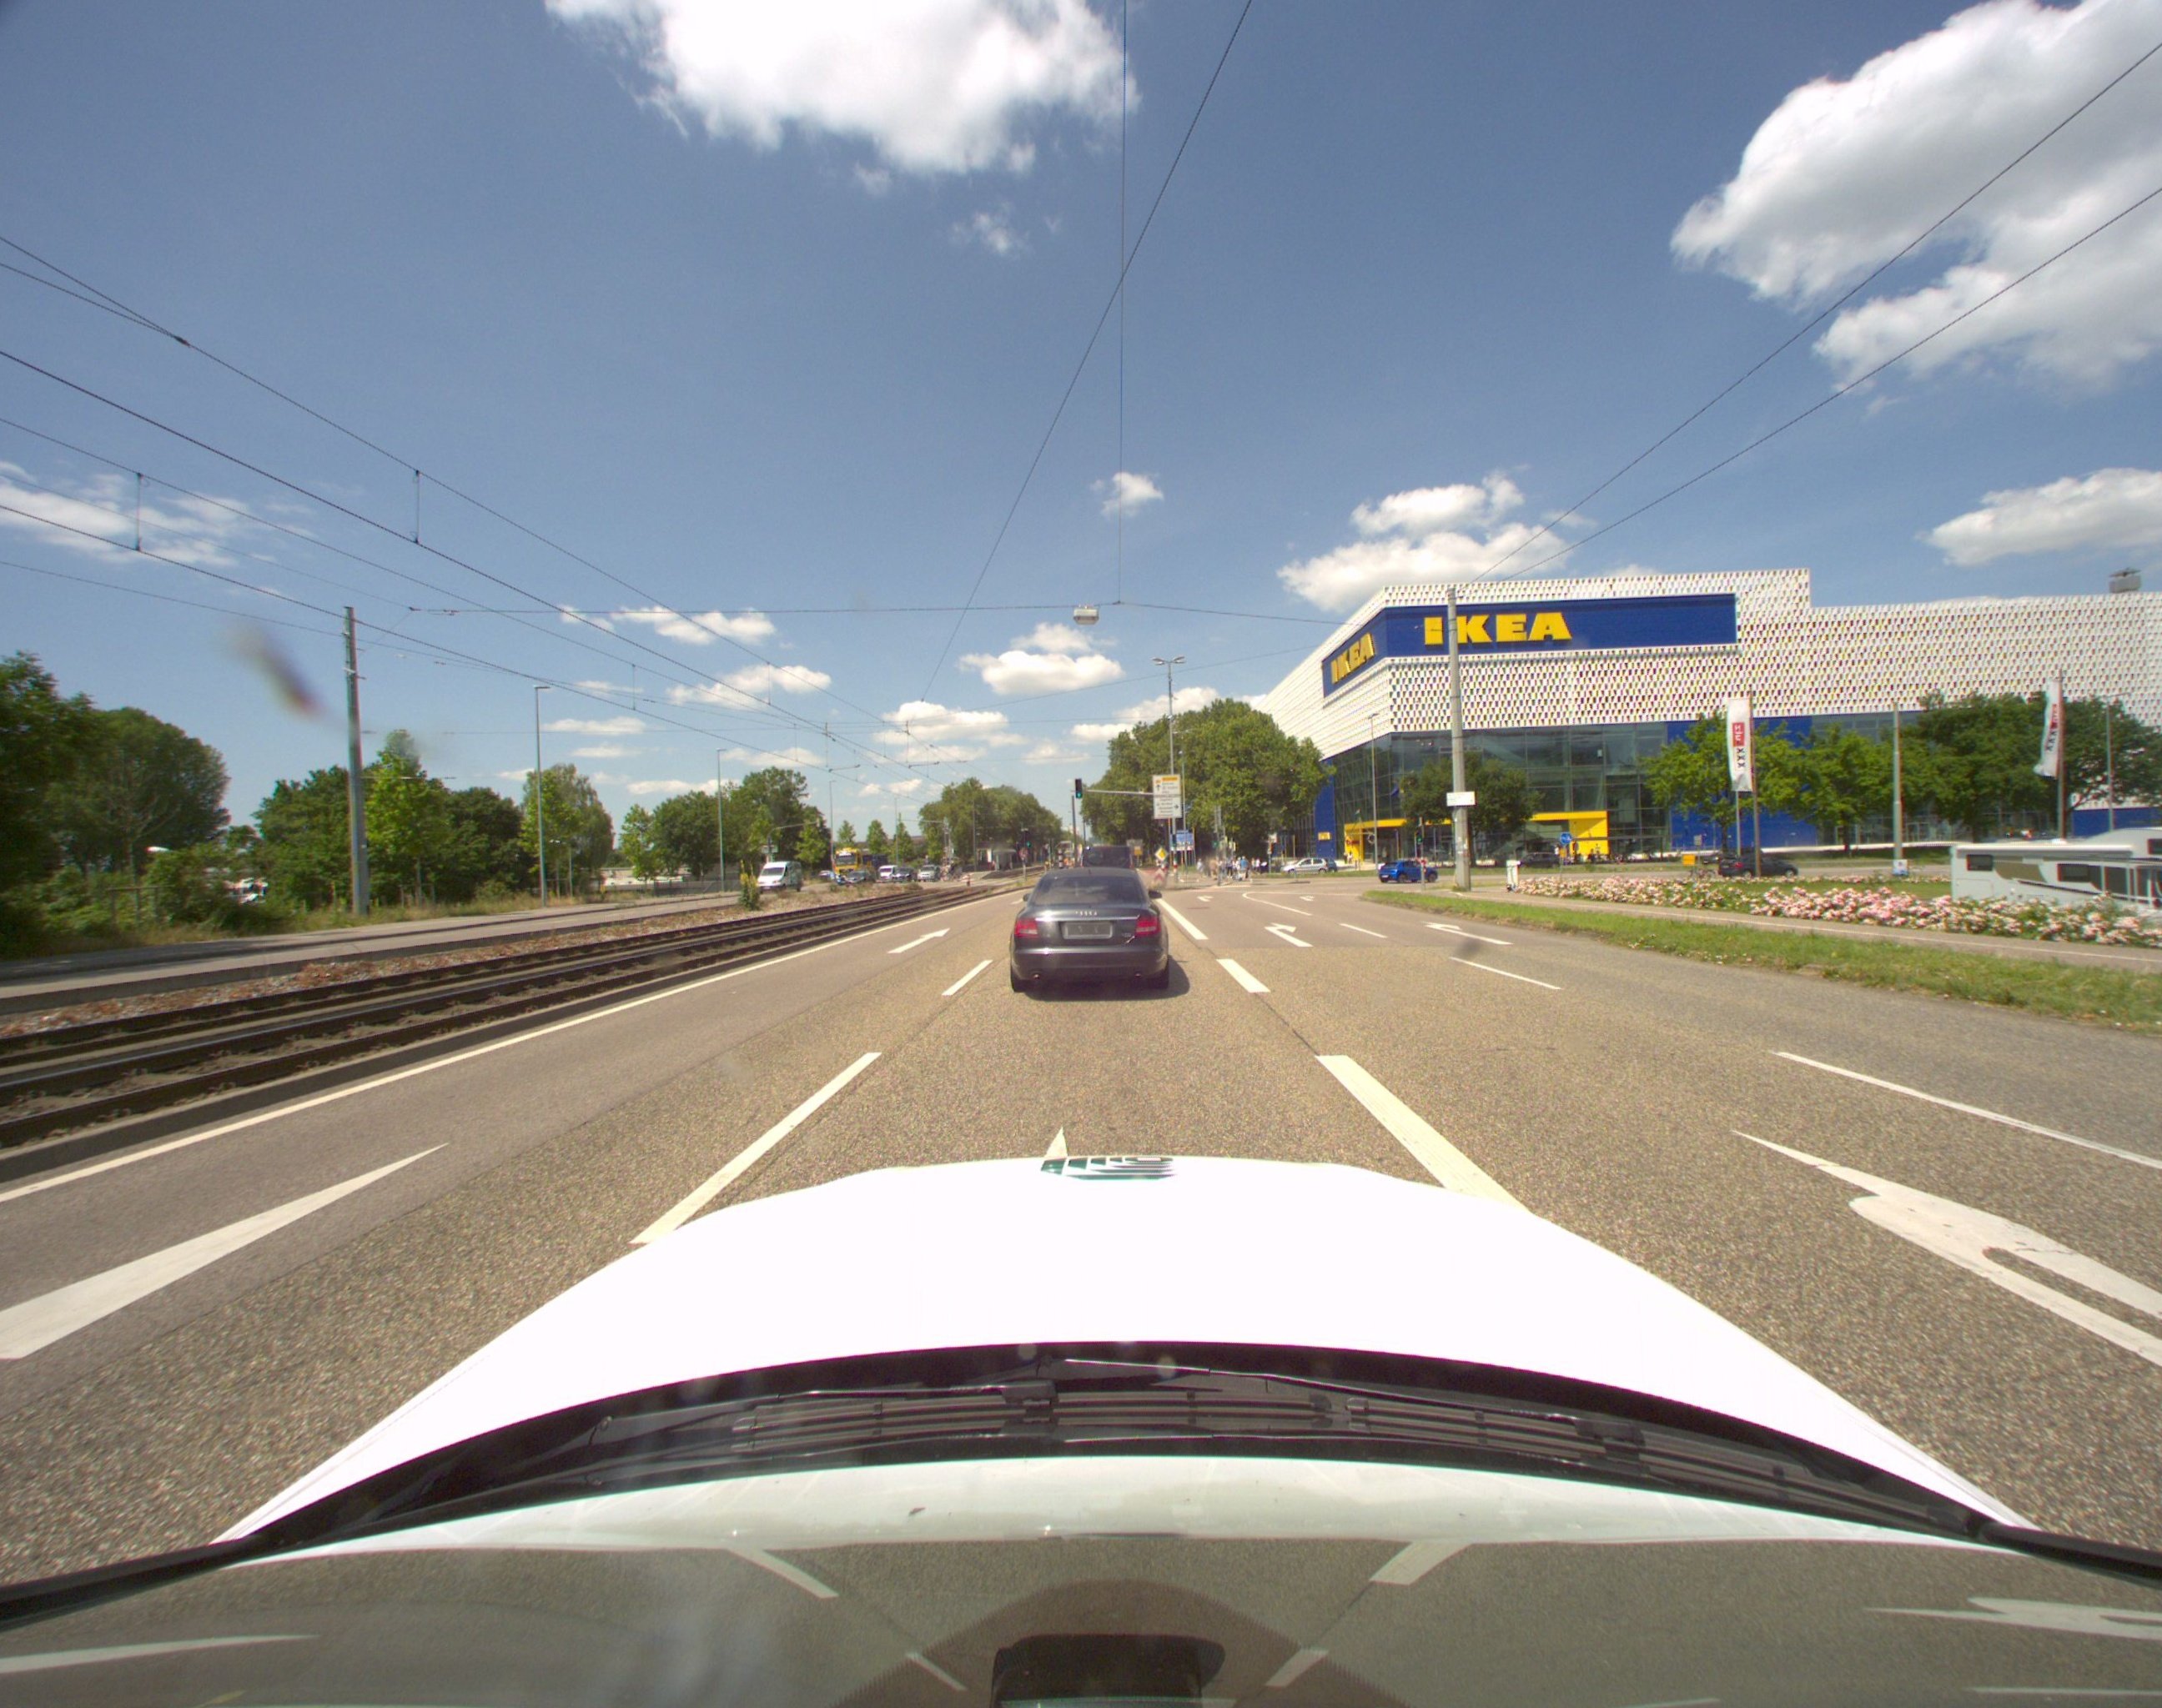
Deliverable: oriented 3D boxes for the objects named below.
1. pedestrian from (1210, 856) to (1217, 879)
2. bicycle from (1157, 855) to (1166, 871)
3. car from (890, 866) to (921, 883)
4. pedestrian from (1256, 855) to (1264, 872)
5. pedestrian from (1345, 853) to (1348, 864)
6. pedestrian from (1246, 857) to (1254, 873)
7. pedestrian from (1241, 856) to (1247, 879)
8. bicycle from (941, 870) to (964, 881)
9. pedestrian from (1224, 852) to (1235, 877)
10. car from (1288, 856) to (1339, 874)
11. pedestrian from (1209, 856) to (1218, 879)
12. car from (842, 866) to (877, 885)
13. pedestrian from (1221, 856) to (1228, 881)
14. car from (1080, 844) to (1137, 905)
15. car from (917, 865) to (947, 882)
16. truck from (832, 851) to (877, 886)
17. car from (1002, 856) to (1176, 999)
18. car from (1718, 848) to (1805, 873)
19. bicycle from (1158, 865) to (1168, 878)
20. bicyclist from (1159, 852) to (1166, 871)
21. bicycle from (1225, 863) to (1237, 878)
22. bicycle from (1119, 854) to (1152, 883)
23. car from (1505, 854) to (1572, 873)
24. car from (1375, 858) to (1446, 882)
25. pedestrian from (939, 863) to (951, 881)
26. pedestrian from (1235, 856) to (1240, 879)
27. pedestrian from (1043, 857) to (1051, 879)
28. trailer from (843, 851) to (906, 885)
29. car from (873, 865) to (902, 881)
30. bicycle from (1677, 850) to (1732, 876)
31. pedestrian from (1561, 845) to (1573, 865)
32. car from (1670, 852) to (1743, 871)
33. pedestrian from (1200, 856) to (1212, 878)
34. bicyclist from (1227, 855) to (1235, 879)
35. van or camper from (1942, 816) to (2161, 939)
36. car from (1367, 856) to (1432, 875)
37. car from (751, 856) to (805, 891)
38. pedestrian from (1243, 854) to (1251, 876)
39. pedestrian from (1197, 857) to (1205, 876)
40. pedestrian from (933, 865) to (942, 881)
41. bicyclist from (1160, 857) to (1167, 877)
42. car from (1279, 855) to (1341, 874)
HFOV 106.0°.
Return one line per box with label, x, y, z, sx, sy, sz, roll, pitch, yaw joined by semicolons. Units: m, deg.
pedestrian;9.602;0.991;59.033;0.443;1.635;0.430;-1;-1;5
bicycle;7.741;0.875;78.453;0.685;1.519;2.753;-1;0;2
car;-17.789;2.073;82.869;1.814;1.670;4.467;0;0;5
pedestrian;17.667;0.951;80.470;0.698;1.635;0.615;-1;-1;21
pedestrian;33.270;0.524;102.172;0.287;1.342;0.266;-1;-1;2
pedestrian;16.764;1.087;80.808;0.698;1.544;0.681;-1;-1;21
pedestrian;11.366;0.942;56.761;0.396;1.635;0.371;-1;-1;5
bicycle;-11.664;1.921;74.022;2.054;0.925;0.751;-1;-1;-8
pedestrian;11.450;0.805;62.749;0.678;1.846;0.711;-1;-1;27
car;19.494;0.908;68.407;3.770;1.486;2.003;0;0;5
pedestrian;9.616;0.964;59.029;0.551;1.635;0.433;-1;-1;4
car;-20.471;1.991;75.406;1.815;1.670;4.463;0;0;2
pedestrian;9.309;0.947;52.722;0.379;1.635;0.377;-1;-1;5
car;0.949;0.679;28.509;1.830;1.950;4.001;-1;-1;2
car;-14.978;1.956;82.025;1.814;1.670;4.466;0;0;4
truck;-24.009;1.504;86.563;2.757;3.569;6.442;-1;-1;2
car;0.154;0.778;10.558;1.785;1.455;4.002;-2;0;2
car;43.633;0.413;52.282;4.072;1.526;1.767;-1;0;1
bicycle;6.932;1.474;69.291;0.685;1.006;2.753;-1;0;2
bicyclist;7.812;0.728;78.257;0.526;1.789;1.088;-1;-1;2
bicycle;11.021;1.201;59.825;0.654;1.022;1.869;-1;0;16
bicycle;3.923;1.004;58.134;1.982;2.014;4.010;-1;-1;9
car;38.155;0.783;68.029;4.475;1.486;2.003;-1;-1;5
car;21.067;1.000;52.130;3.997;1.454;1.832;0;0;-17
pedestrian;-13.008;1.760;78.063;0.816;1.720;0.779;-1;-1;24
pedestrian;10.969;0.955;57.144;0.319;1.635;0.377;-1;-1;5
pedestrian;-3.228;1.338;77.277;0.683;2.014;0.572;-1;-1;-3
trailer;-23.748;1.573;94.865;2.757;3.518;15.883;-1;-1;2
car;-20.803;2.017;87.822;1.814;1.670;4.465;0;0;3
bicycle;36.989;0.540;48.371;2.410;1.481;0.990;-1;-1;6
pedestrian;49.423;0.105;82.824;0.707;2.014;0.825;-1;-1;4
car;51.620;0.597;67.283;4.475;1.486;2.003;0;0;5
pedestrian;9.627;1.001;62.831;0.706;1.635;0.711;-1;-1;27
bicyclist;11.034;0.968;59.902;0.525;1.764;0.831;-1;-1;15
van or camper;28.114;0.578;22.013;2.494;3.020;7.234;-1;0;6
car;25.387;0.883;65.095;4.475;1.486;2.003;0;0;5
car;-24.664;1.500;66.563;2.238;2.589;6.226;-4;0;-4
pedestrian;12.625;0.851;61.777;0.518;1.670;0.495;-1;-1;5
pedestrian;9.660;1.006;65.803;0.490;1.520;0.710;-1;-1;19
pedestrian;-13.220;1.778;75.085;0.683;1.443;0.572;-1;-1;-2
bicyclist;6.997;1.135;69.319;0.526;1.676;1.088;-1;-1;2
car;18.283;0.807;65.150;4.475;1.486;2.003;0;0;5
